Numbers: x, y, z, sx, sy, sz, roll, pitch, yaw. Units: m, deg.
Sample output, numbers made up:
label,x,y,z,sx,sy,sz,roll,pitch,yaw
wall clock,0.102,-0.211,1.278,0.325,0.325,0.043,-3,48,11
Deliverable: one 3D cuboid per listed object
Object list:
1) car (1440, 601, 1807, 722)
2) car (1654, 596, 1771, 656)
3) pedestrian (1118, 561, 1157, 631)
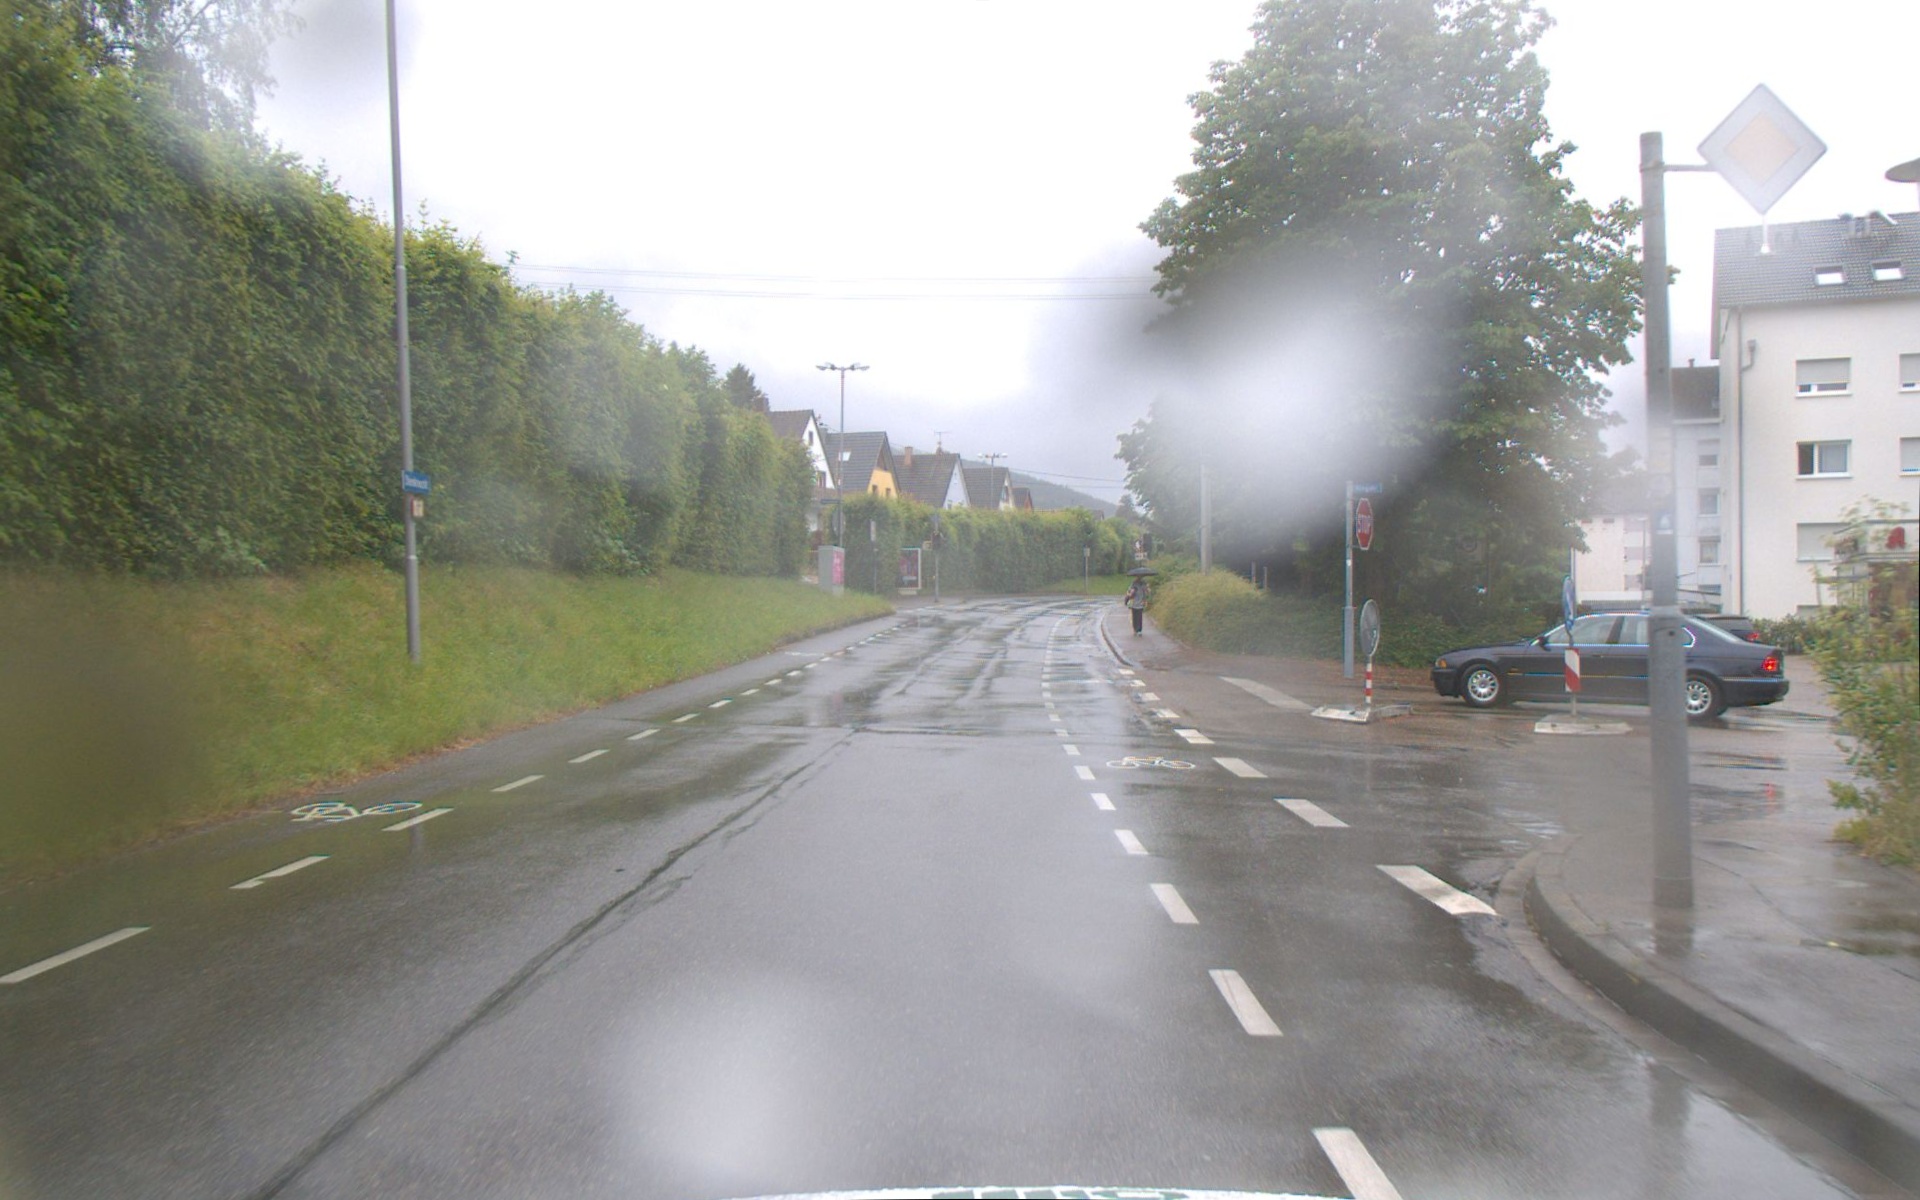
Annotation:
label,x,y,z,sx,sy,sz,roll,pitch,yaw
car,9.174,0.783,22.934,4.513,1.412,1.944,2,1,29
car,20.126,0.658,44.377,1.653,1.463,3.614,0,1,3
pedestrian,4.436,-0.105,41.339,0.900,1.704,1.058,-1,1,4
